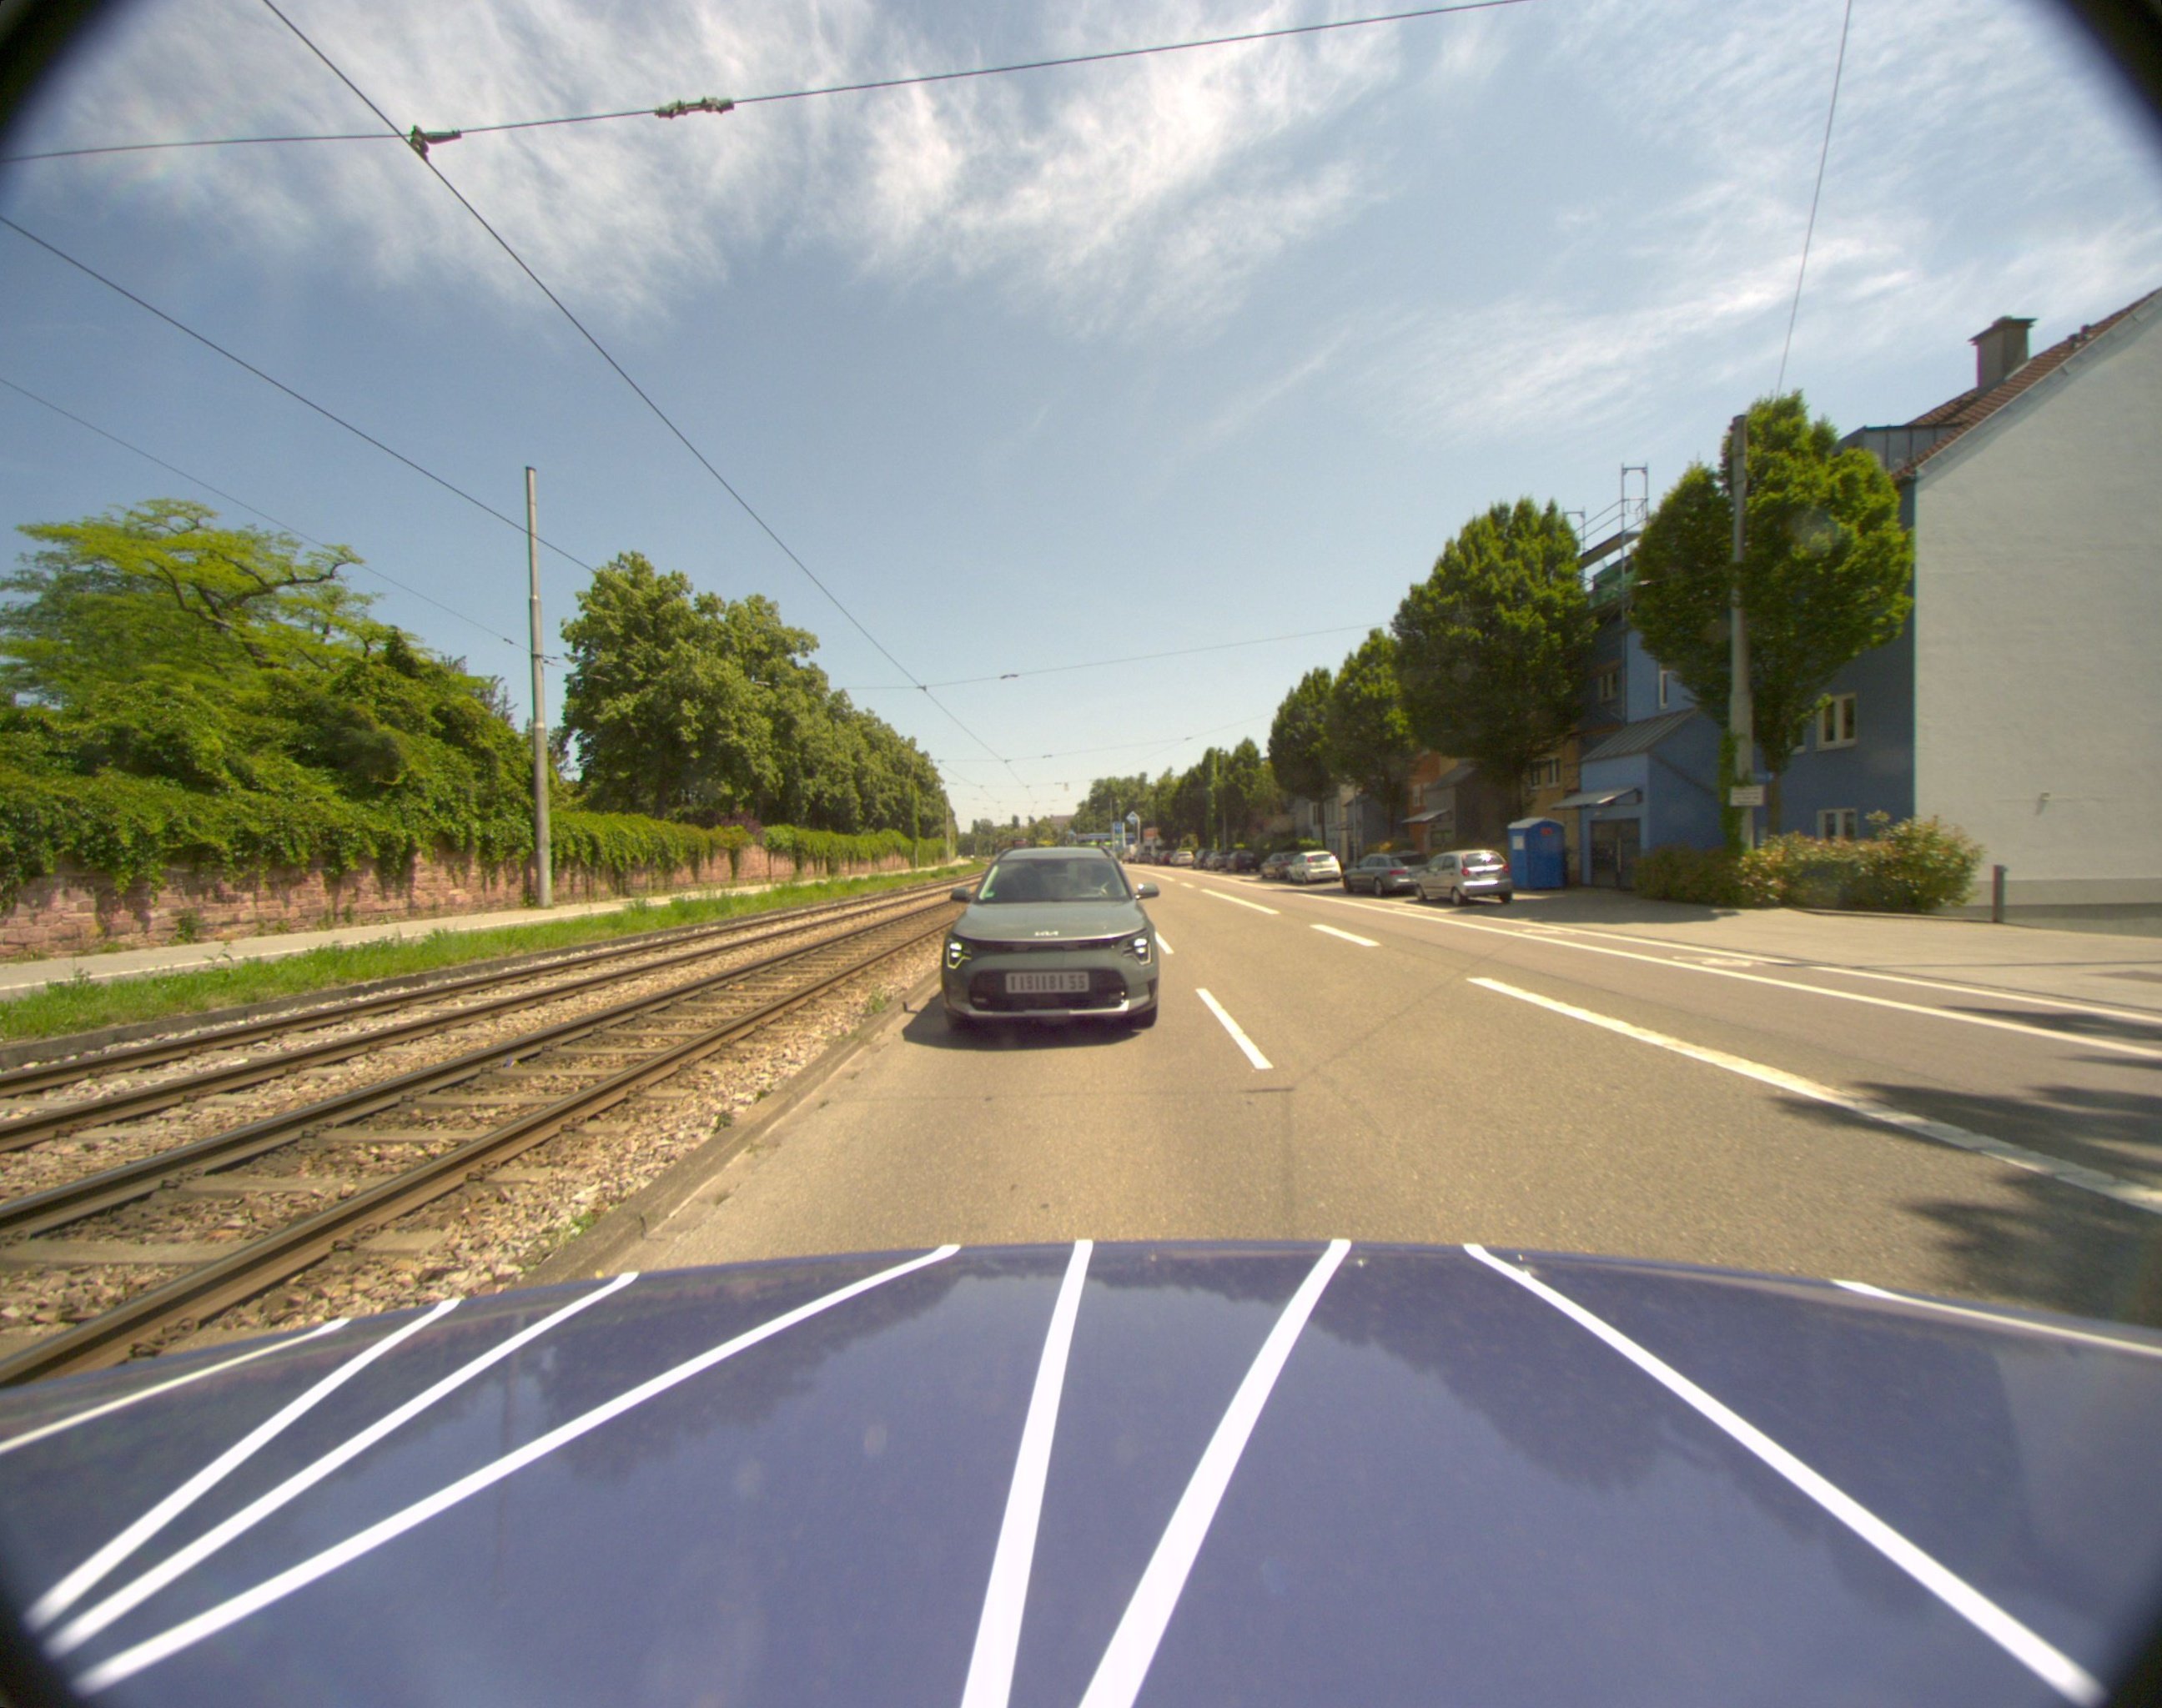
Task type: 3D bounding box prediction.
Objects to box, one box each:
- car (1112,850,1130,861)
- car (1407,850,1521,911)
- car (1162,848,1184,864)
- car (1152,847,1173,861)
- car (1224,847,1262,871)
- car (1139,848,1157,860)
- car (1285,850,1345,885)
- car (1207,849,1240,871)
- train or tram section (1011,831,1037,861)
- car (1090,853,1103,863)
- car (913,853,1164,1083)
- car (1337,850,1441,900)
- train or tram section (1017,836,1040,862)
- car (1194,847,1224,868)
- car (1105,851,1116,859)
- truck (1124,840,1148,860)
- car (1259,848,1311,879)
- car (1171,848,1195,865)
[{"bbox_3d":[5.968,0.163,113.559,1.866,1.487,3.468,-5,1,-8],"label":"car"},{"bbox_3d":[10.929,0.692,21.917,1.505,1.487,3.281,-5,1,-1],"label":"car"},{"bbox_3d":[9.889,0.200,81.768,1.865,1.487,3.470,-5,1,-1],"label":"car"},{"bbox_3d":[9.267,-0.017,86.625,1.865,1.487,3.470,-1,1,-1],"label":"car"},{"bbox_3d":[11.426,0.335,53.688,1.656,1.487,4.081,-5,1,-1],"label":"car"},{"bbox_3d":[8.375,0.030,95.625,1.865,1.487,3.470,-1,1,-1],"label":"car"},{"bbox_3d":[11.290,0.606,36.951,1.656,1.487,3.649,-5,1,-1],"label":"car"},{"bbox_3d":[10.894,0.414,58.429,1.656,1.487,4.081,-5,1,-1],"label":"car"},{"bbox_3d":[-7.787,-1.137,105.848,2.814,3.785,14.257,-2,1,-1],"label":"train or tram section"},{"bbox_3d":[2.548,0.719,126.947,1.865,1.487,3.470,-5,1,-1],"label":"car"},{"bbox_3d":[-0.287,0.822,7.706,1.759,1.574,4.426,-2,1,1],"label":"car"},{"bbox_3d":[10.815,0.658,27.050,1.680,1.487,4.638,-5,1,-1],"label":"car"},{"bbox_3d":[-8.195,-0.825,120.100,2.784,3.789,14.256,-2,1,-2],"label":"train or tram section"},{"bbox_3d":[10.819,0.290,64.544,1.656,1.578,4.081,-5,1,-1],"label":"car"},{"bbox_3d":[5.764,0.248,149.765,1.865,1.487,3.469,-1,1,-2],"label":"car"},{"bbox_3d":[7.367,-0.542,101.877,2.135,2.565,4.860,-1,1,-8],"label":"truck"},{"bbox_3d":[11.325,0.492,42.460,1.656,1.487,4.081,-5,1,-1],"label":"car"},{"bbox_3d":[10.210,0.253,76.124,1.723,1.487,4.081,-5,1,-1],"label":"car"}]
